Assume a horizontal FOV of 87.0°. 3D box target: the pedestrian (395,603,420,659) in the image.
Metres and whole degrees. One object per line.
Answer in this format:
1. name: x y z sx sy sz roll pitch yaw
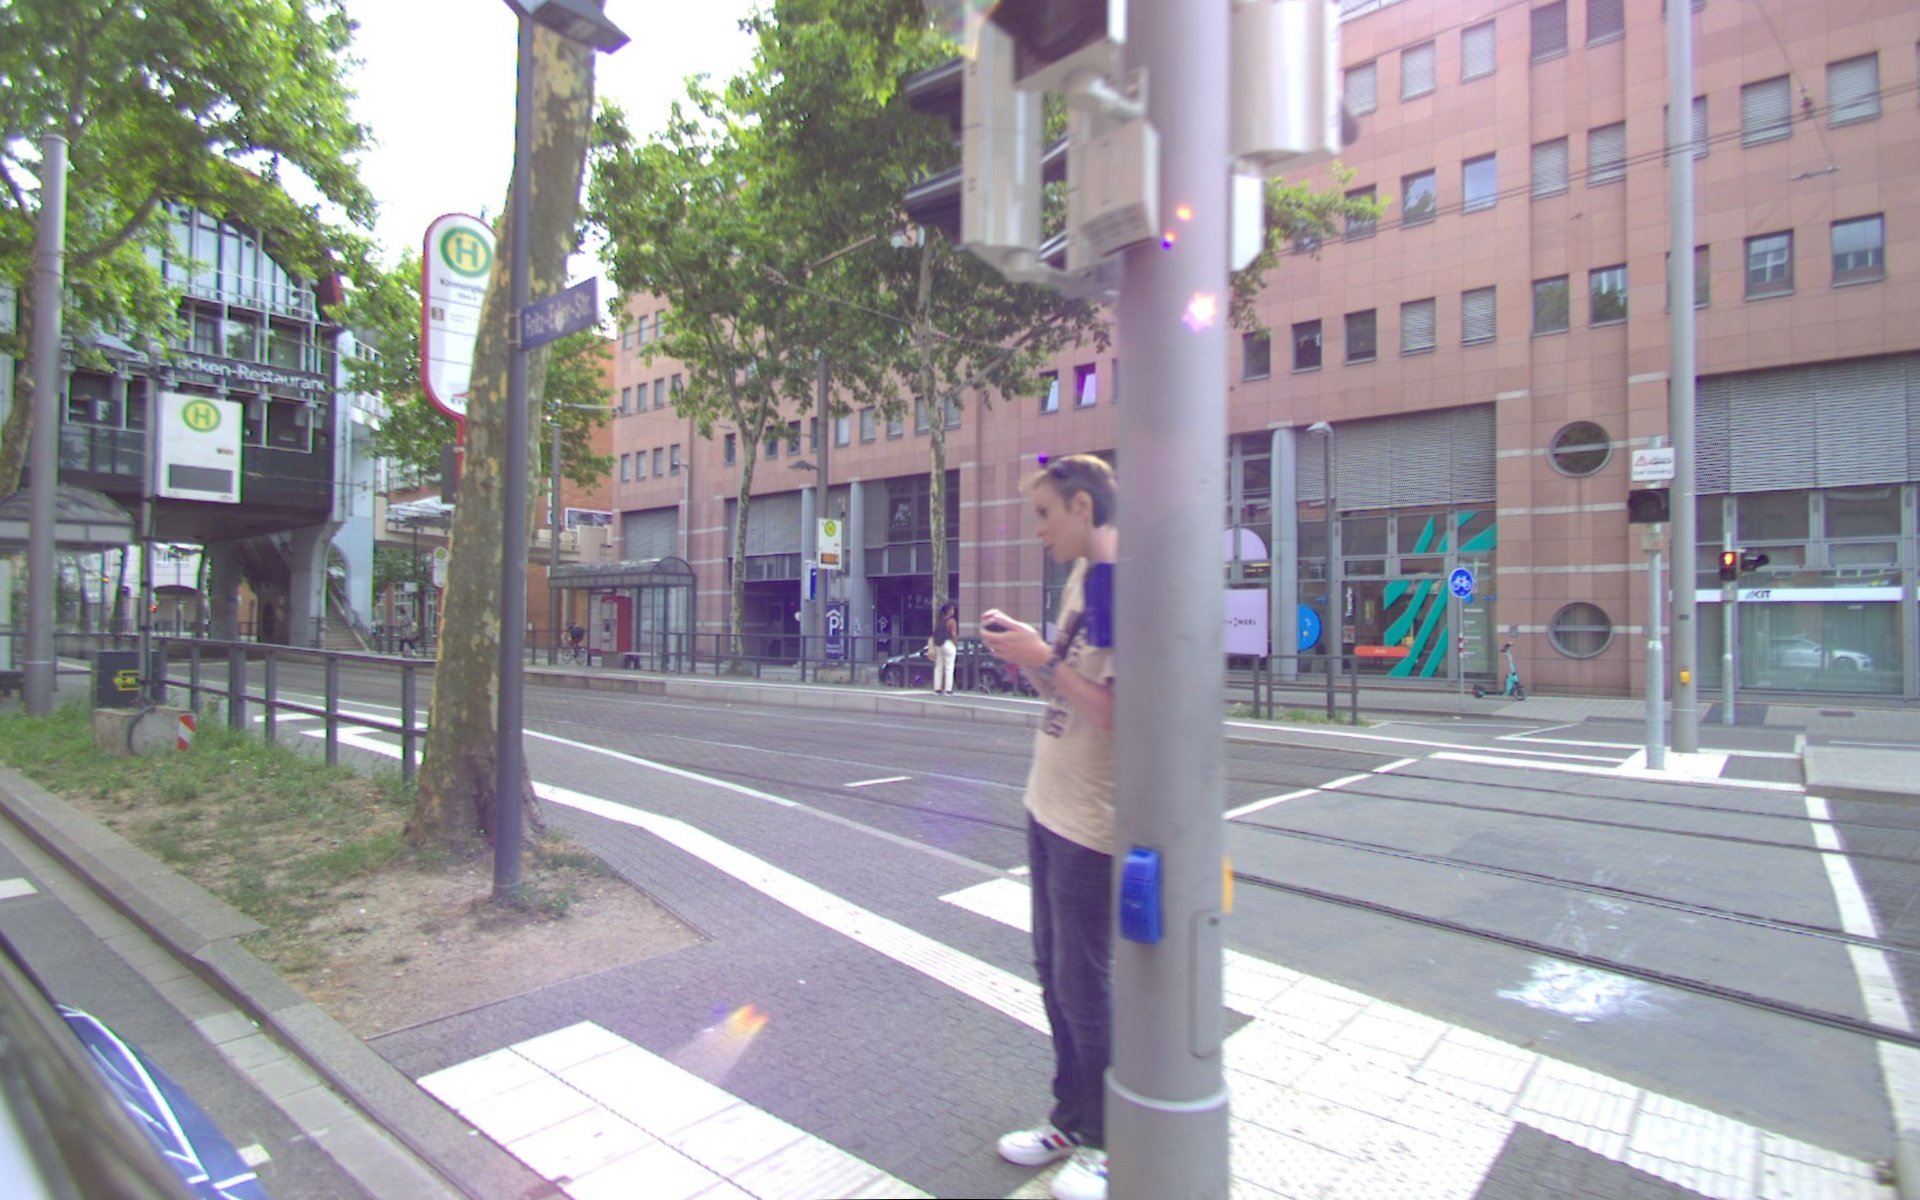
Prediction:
1. pedestrian: -17.585 0.985 32.202 0.480 1.784 0.476 -1 -2 33

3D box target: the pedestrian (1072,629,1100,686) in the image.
1. pedestrian: 3.593 1.632 28.785 0.600 1.585 0.522 -1 -3 40

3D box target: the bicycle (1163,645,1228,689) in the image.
1. bicycle: 6.213 1.753 26.708 1.582 1.126 0.542 0 -2 28

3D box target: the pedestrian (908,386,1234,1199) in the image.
1. pedestrian: 0.247 0.478 2.415 0.526 1.805 0.579 1 -2 -29

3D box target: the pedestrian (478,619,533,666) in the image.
1. pedestrian: -20.638 1.878 45.966 2.035 2.029 1.672 -1 0 45

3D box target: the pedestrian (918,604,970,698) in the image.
1. pedestrian: -0.273 0.865 17.324 0.557 1.549 0.650 1 -1 36

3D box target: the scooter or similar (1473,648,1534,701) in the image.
1. scooter or similar: 12.095 1.641 22.521 1.111 1.142 0.513 -1 -3 41

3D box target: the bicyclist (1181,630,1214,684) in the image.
1. bicyclist: 6.275 1.502 26.691 0.735 1.391 0.547 0 -2 28

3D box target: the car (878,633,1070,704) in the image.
1. car: 0.268 1.520 23.559 4.292 1.484 1.844 -1 -2 40
